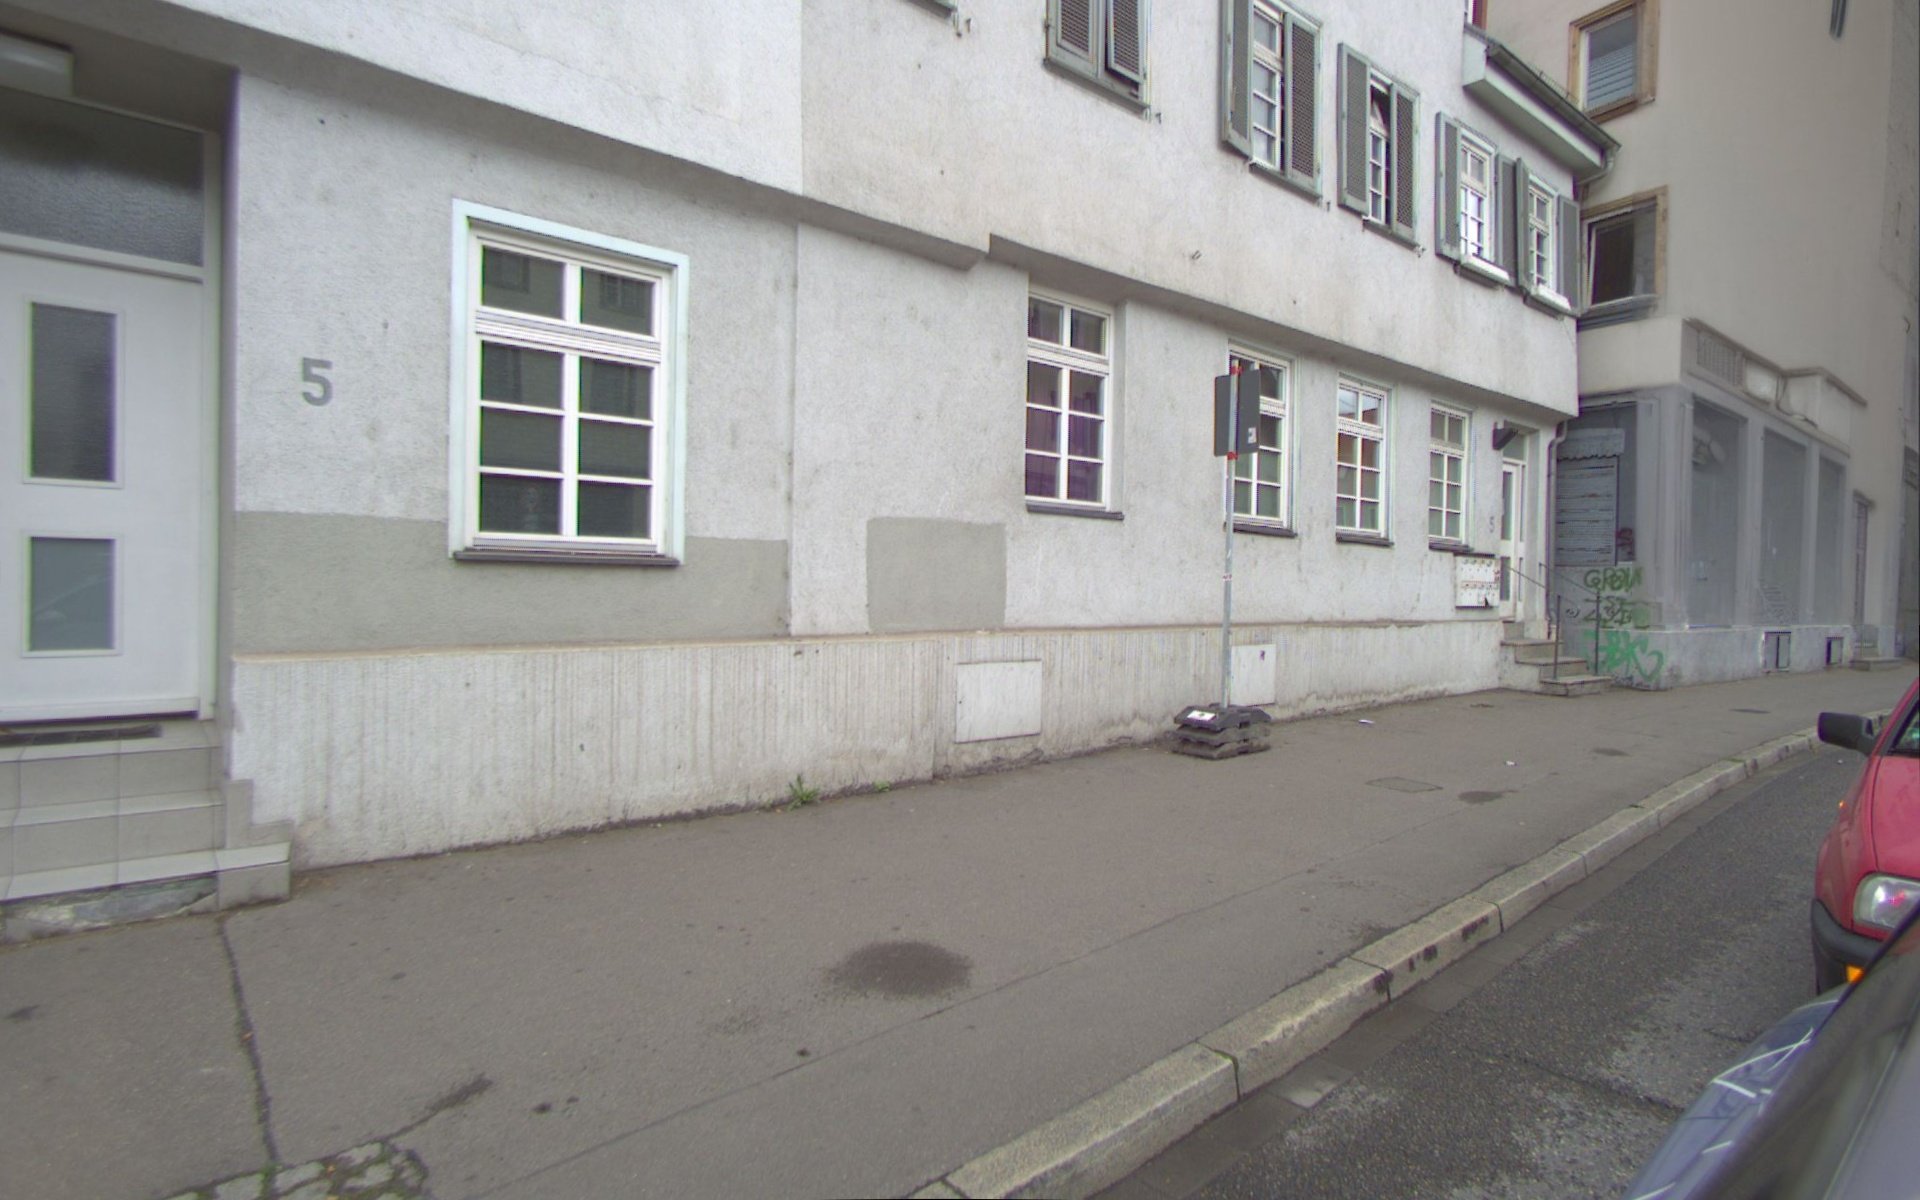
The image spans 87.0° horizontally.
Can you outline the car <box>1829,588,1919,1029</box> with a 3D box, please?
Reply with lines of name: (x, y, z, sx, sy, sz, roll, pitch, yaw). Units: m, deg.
car: (5.047, 0.701, 4.143, 3.950, 1.445, 1.684, 0, 1, -41)
